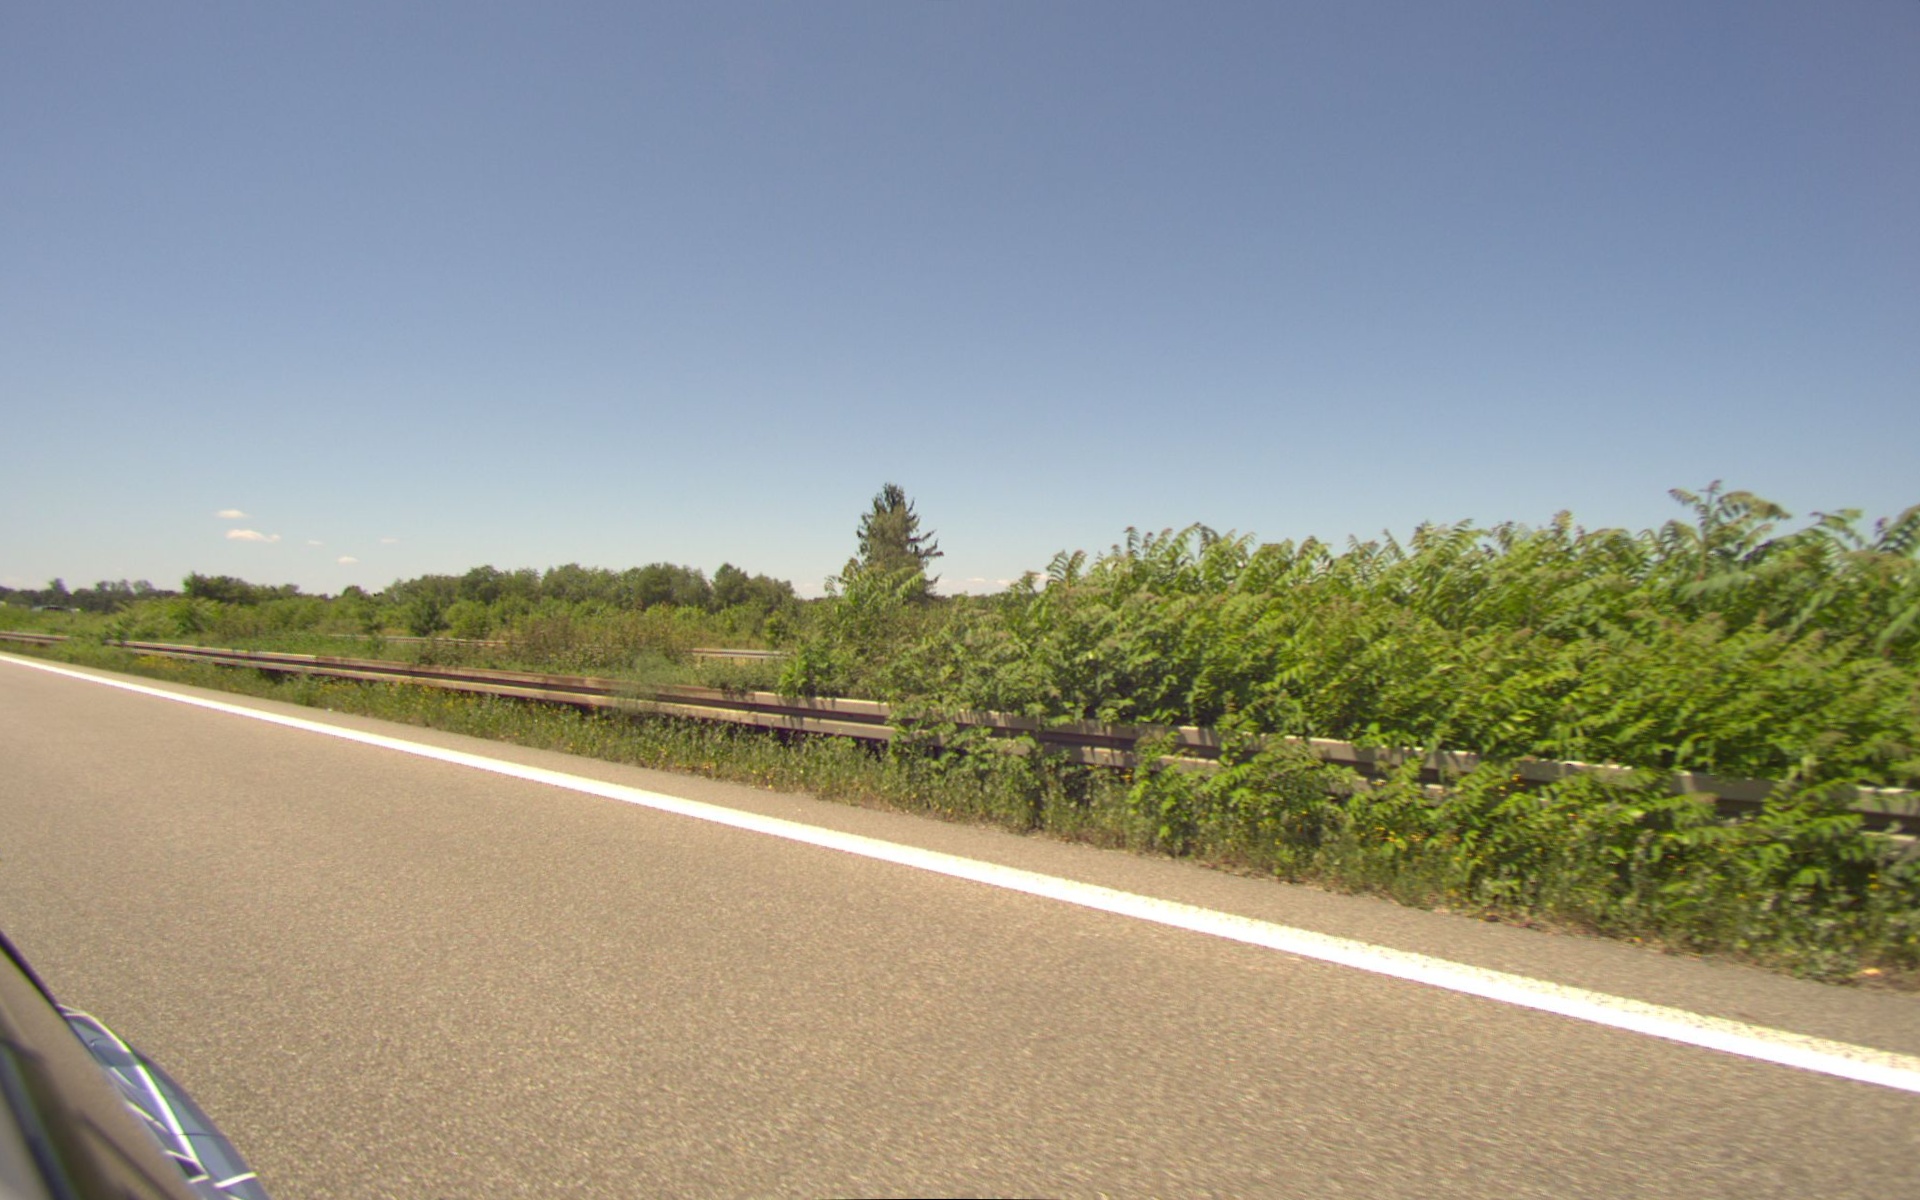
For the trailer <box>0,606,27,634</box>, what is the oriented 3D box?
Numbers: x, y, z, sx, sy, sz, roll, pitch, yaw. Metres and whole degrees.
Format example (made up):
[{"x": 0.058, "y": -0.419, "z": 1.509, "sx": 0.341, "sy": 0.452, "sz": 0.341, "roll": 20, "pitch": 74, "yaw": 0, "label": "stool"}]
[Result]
[{"x": -140.367, "y": 2.900, "z": 149.037, "sx": 13.902, "sy": 3.899, "sz": 2.903, "roll": -1, "pitch": 0, "yaw": 41, "label": "trailer"}]

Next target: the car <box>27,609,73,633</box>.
[{"x": -76.928, "y": 1.736, "z": 85.513, "sx": 5.516, "sy": 1.913, "sz": 2.235, "roll": -1, "pitch": 0, "yaw": 41, "label": "car"}]
